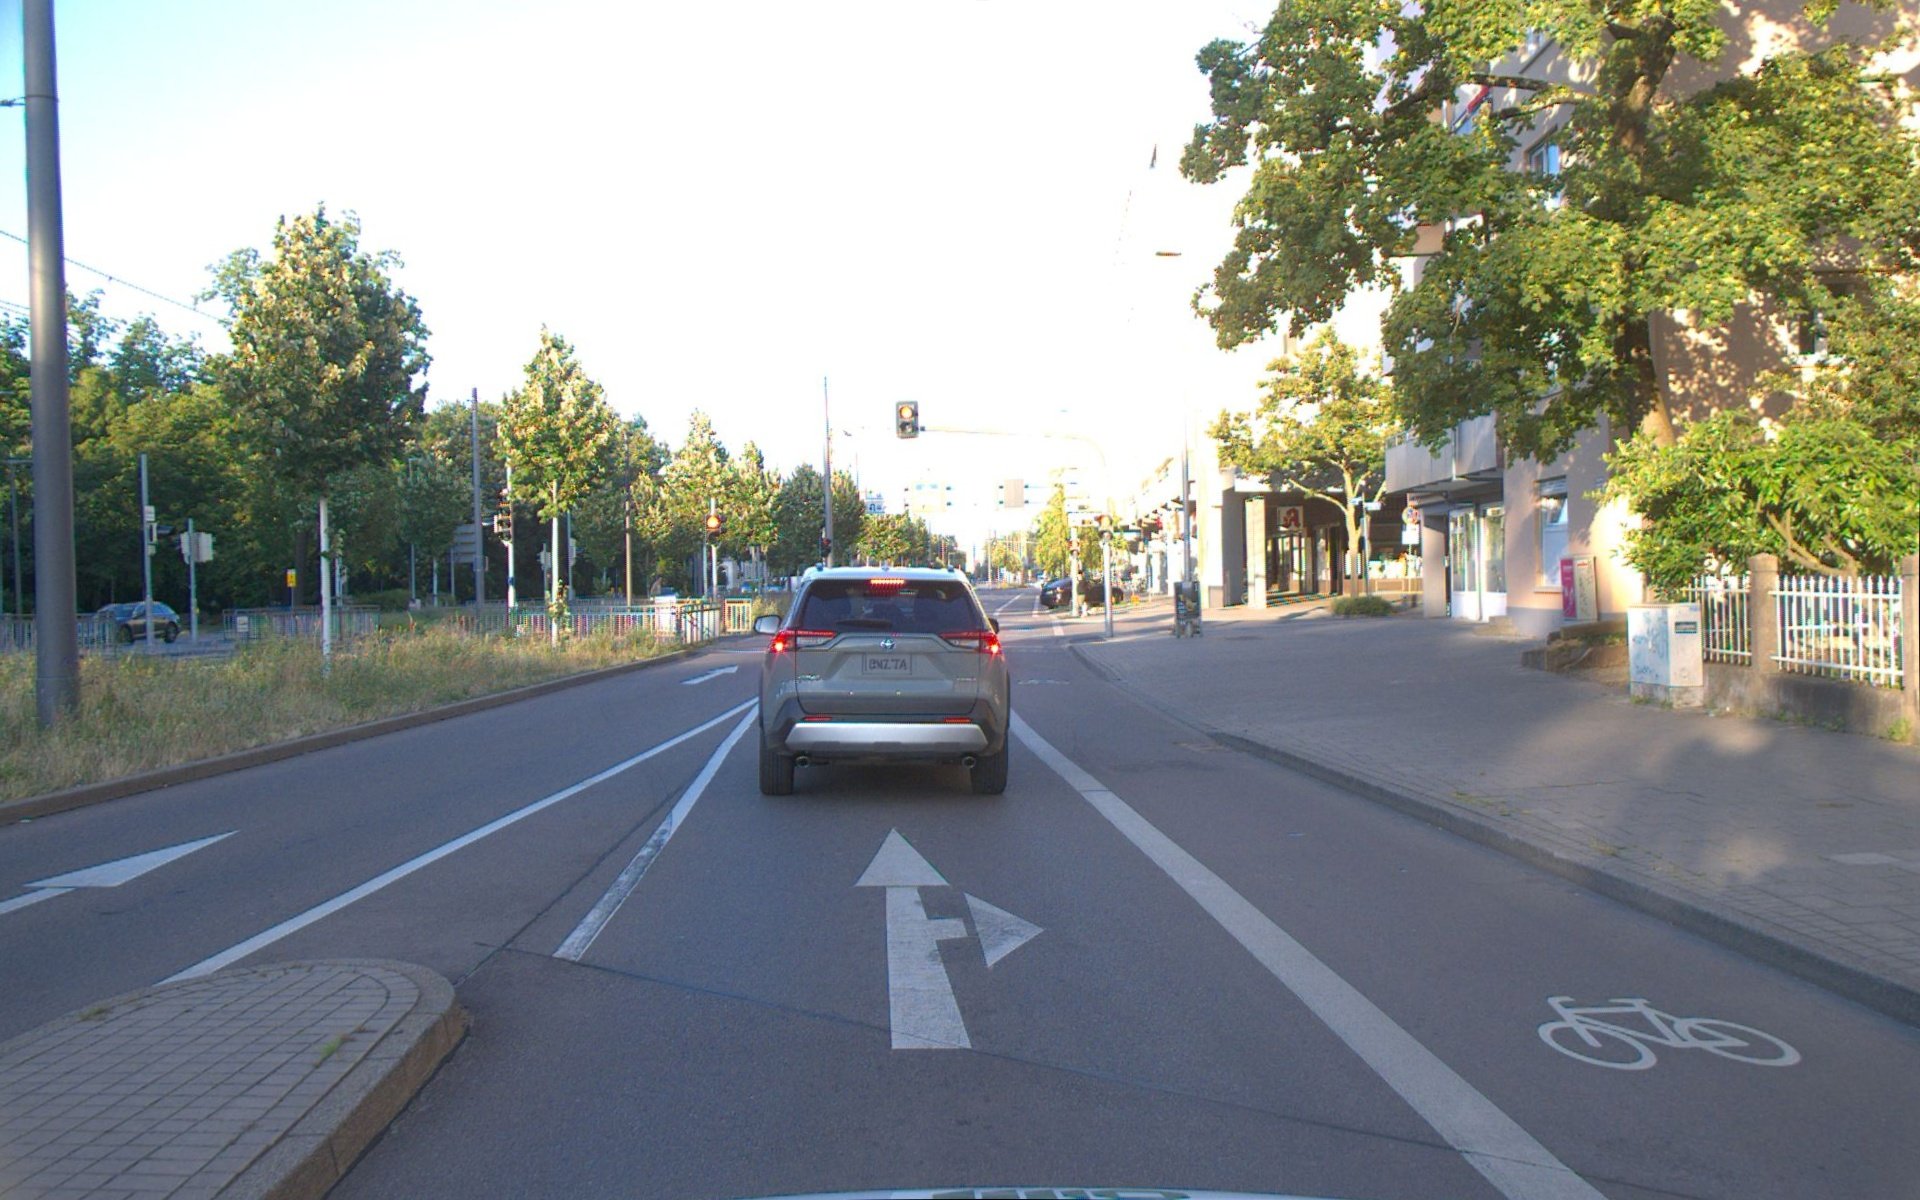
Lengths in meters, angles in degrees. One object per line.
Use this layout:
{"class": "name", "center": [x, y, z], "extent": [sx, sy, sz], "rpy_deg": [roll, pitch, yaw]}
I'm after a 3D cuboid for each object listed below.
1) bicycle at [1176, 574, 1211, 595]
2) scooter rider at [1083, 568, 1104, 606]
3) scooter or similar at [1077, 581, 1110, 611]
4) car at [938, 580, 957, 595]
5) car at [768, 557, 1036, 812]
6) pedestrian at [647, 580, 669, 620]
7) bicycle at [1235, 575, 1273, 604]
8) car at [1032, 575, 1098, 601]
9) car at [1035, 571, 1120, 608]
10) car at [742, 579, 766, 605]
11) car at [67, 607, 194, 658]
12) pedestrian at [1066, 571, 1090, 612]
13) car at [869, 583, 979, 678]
{"class": "bicycle", "center": [13.380, -0.891, 94.815], "extent": [1.973, 1.169, 0.691], "rpy_deg": [2, 0, 7]}
{"class": "scooter rider", "center": [5.460, -0.526, 67.677], "extent": [0.803, 1.540, 0.653], "rpy_deg": [-2, 0, 3]}
{"class": "scooter or similar", "center": [5.474, -0.161, 67.648], "extent": [1.301, 1.173, 0.514], "rpy_deg": [-2, 0, 3]}
{"class": "car", "center": [-1.279, -1.318, 172.849], "extent": [1.938, 1.458, 4.844], "rpy_deg": [0, 2, 1]}
{"class": "car", "center": [-0.523, 0.516, 13.355], "extent": [1.818, 1.687, 4.266], "rpy_deg": [0, 2, -4]}
{"class": "pedestrian", "center": [-13.429, -0.007, 73.539], "extent": [0.818, 1.742, 0.647], "rpy_deg": [-2, 0, -1]}
{"class": "bicycle", "center": [11.939, -0.430, 67.191], "extent": [0.677, 1.169, 2.013], "rpy_deg": [2, 0, -18]}
{"class": "car", "center": [7.046, -0.821, 111.021], "extent": [4.218, 1.687, 1.839], "rpy_deg": [-1, 2, -35]}
{"class": "car", "center": [5.888, -0.546, 82.684], "extent": [4.232, 1.687, 1.832], "rpy_deg": [-2, 2, -42]}
{"class": "car", "center": [-18.910, -0.764, 152.168], "extent": [1.954, 2.205, 4.747], "rpy_deg": [0, 2, -5]}
{"class": "car", "center": [-28.420, 1.084, 56.805], "extent": [1.892, 1.507, 4.525], "rpy_deg": [0, 2, 3]}
{"class": "pedestrian", "center": [4.665, -0.339, 65.457], "extent": [0.819, 1.614, 0.811], "rpy_deg": [-2, 0, -5]}
{"class": "car", "center": [-0.704, 0.500, 30.655], "extent": [1.893, 1.507, 4.521], "rpy_deg": [0, 2, -2]}
